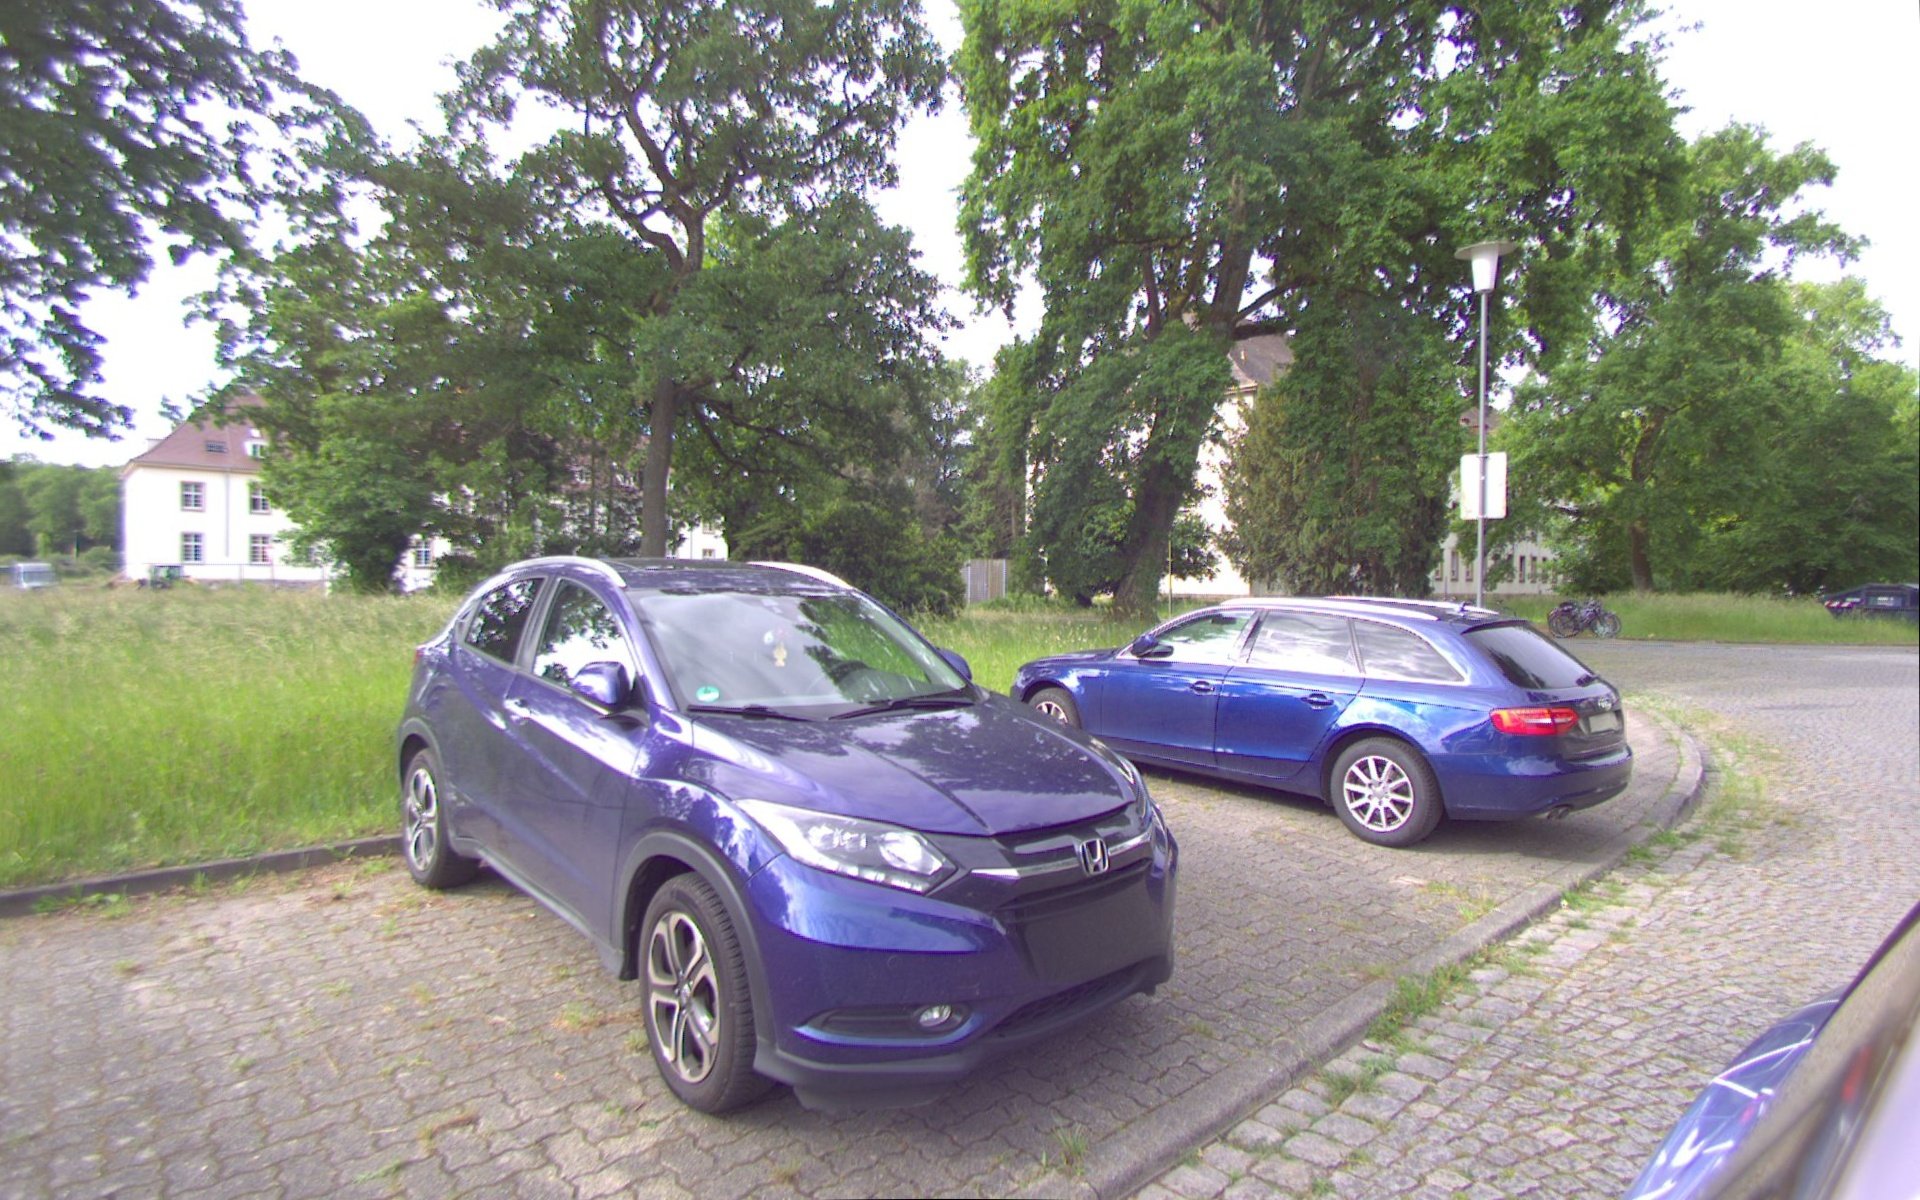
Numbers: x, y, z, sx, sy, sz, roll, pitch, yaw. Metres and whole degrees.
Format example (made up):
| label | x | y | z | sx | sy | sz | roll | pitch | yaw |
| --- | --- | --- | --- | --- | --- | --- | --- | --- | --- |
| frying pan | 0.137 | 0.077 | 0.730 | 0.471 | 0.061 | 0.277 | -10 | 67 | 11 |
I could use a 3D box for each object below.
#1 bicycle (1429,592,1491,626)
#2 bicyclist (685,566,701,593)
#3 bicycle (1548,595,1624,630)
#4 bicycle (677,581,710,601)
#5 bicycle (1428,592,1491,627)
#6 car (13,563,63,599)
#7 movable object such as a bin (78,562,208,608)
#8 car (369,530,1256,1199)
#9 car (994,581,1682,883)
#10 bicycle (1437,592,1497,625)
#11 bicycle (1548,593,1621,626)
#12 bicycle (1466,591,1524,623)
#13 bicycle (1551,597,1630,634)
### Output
| label | x | y | z | sx | sy | sz | roll | pitch | yaw |
| --- | --- | --- | --- | --- | --- | --- | --- | --- | --- |
| bicycle | 16.944 | 0.307 | 34.338 | 1.837 | 1.137 | 0.617 | 0 | 0 | 24 |
| bicyclist | -16.918 | -1.291 | 64.153 | 0.725 | 1.717 | 0.760 | 0 | 0 | 44 |
| bicycle | 19.902 | 0.392 | 32.205 | 1.949 | 1.090 | 0.584 | 0 | 0 | 20 |
| bicycle | -16.876 | -0.587 | 64.155 | 0.723 | 1.244 | 1.902 | 0 | 1 | 44 |
| bicycle | 16.647 | 0.317 | 33.774 | 1.837 | 1.137 | 0.617 | 0 | 0 | 24 |
| car | -62.365 | -1.286 | 68.416 | 4.575 | 2.377 | 1.890 | 0 | 1 | 40 |
| movable object such as a bin | -49.645 | -0.923 | 61.698 | 5.857 | 2.688 | 2.178 | -1 | 0 | -28 |
| car | -1.039 | 0.575 | 4.380 | 1.763 | 1.591 | 4.167 | -2 | 2 | -43 |
| car | 2.392 | 0.638 | 7.473 | 1.753 | 1.438 | 4.480 | 0 | 2 | -40 |
| bicycle | 17.877 | 0.283 | 35.733 | 1.837 | 1.137 | 0.617 | 0 | 0 | 24 |
| bicycle | 21.004 | 0.312 | 34.064 | 2.008 | 1.090 | 0.617 | 0 | 0 | 24 |
| bicycle | 19.588 | 0.243 | 37.096 | 1.837 | 1.137 | 0.617 | 0 | 0 | 24 |
| bicycle | 19.131 | 0.451 | 30.748 | 1.949 | 1.090 | 0.584 | 0 | 0 | 20 |
